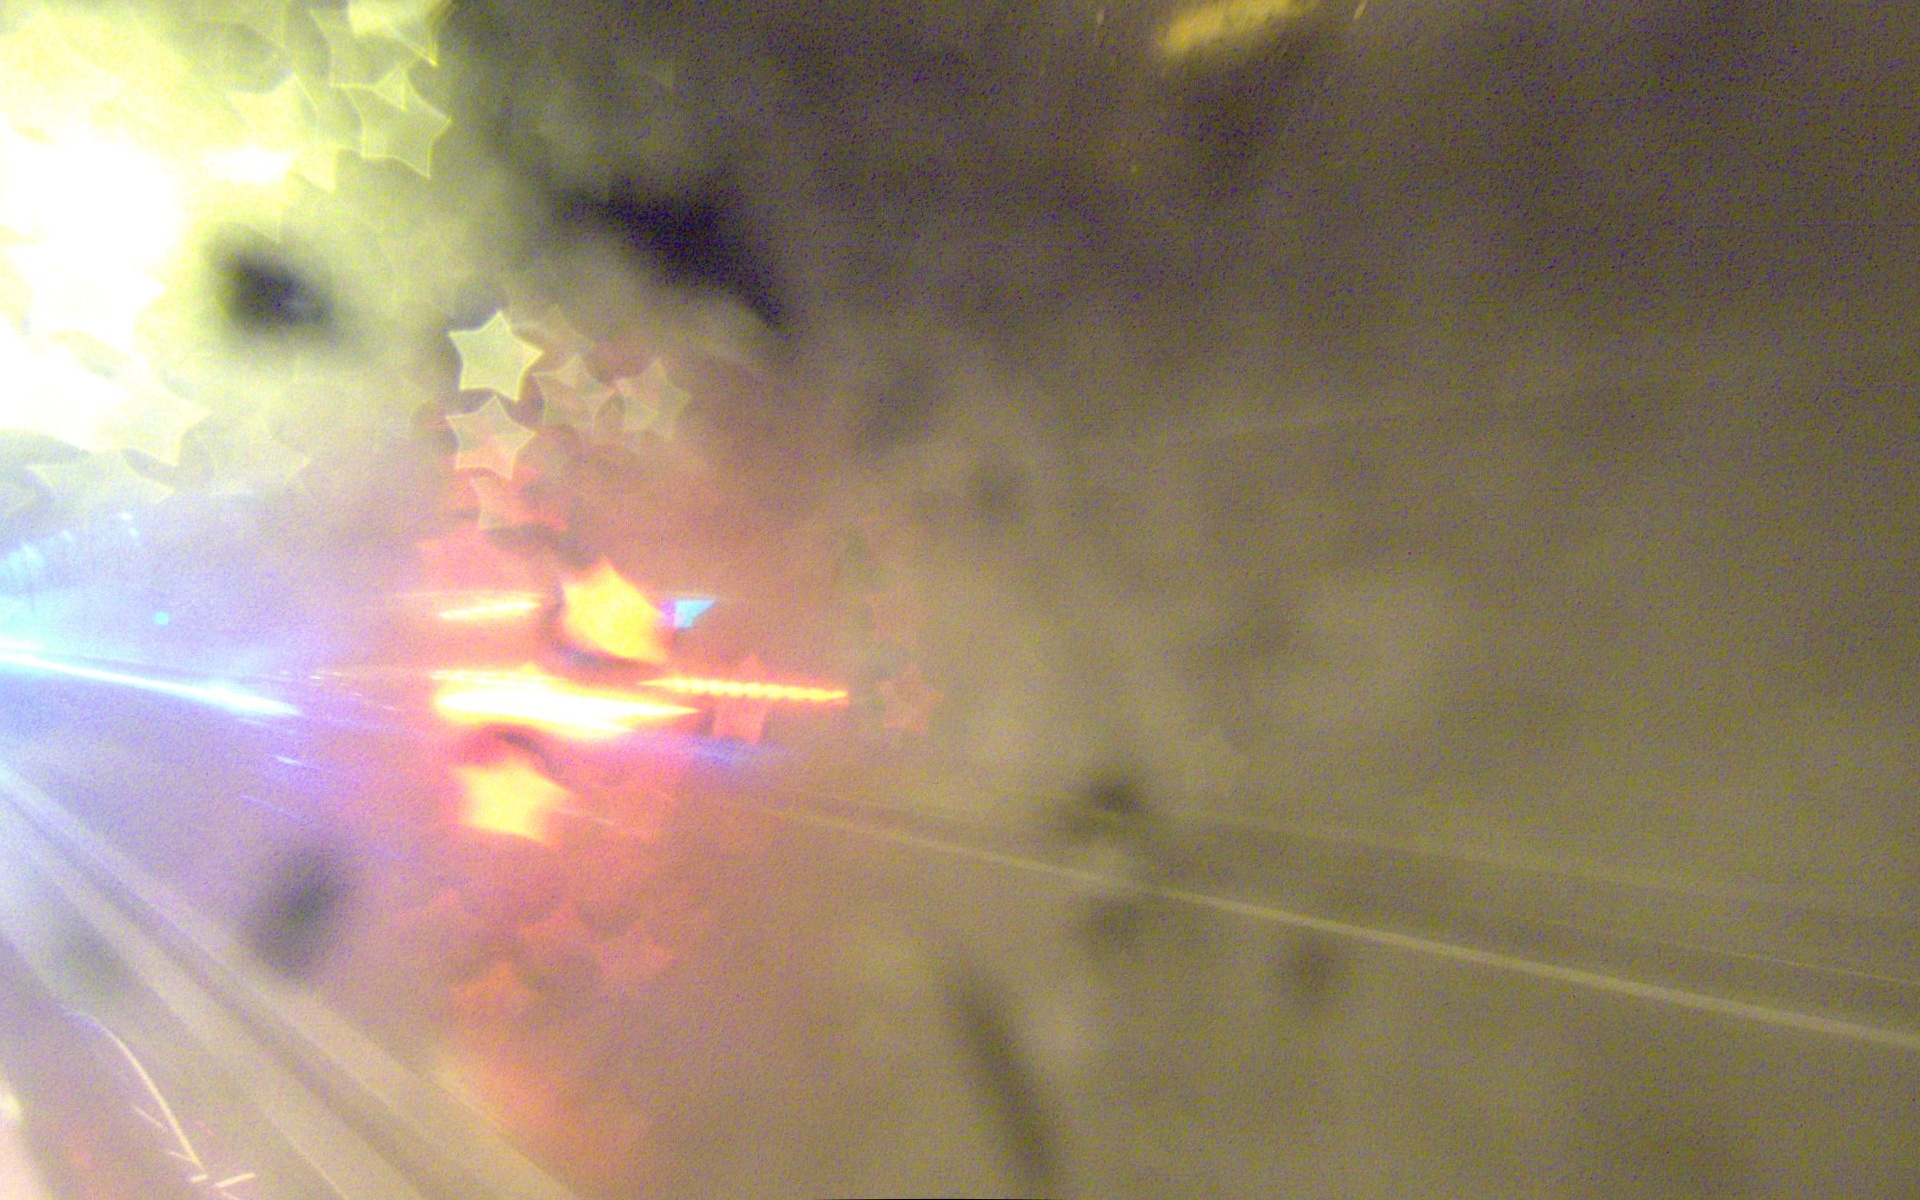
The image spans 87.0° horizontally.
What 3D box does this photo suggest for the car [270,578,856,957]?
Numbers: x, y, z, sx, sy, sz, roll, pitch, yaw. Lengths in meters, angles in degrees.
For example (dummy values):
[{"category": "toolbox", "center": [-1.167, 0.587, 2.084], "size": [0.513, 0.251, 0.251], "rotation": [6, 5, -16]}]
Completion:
[{"category": "car", "center": [-2.640, 0.742, 6.252], "size": [3.998, 1.596, 1.730], "rotation": [-1, -2, 41]}]
